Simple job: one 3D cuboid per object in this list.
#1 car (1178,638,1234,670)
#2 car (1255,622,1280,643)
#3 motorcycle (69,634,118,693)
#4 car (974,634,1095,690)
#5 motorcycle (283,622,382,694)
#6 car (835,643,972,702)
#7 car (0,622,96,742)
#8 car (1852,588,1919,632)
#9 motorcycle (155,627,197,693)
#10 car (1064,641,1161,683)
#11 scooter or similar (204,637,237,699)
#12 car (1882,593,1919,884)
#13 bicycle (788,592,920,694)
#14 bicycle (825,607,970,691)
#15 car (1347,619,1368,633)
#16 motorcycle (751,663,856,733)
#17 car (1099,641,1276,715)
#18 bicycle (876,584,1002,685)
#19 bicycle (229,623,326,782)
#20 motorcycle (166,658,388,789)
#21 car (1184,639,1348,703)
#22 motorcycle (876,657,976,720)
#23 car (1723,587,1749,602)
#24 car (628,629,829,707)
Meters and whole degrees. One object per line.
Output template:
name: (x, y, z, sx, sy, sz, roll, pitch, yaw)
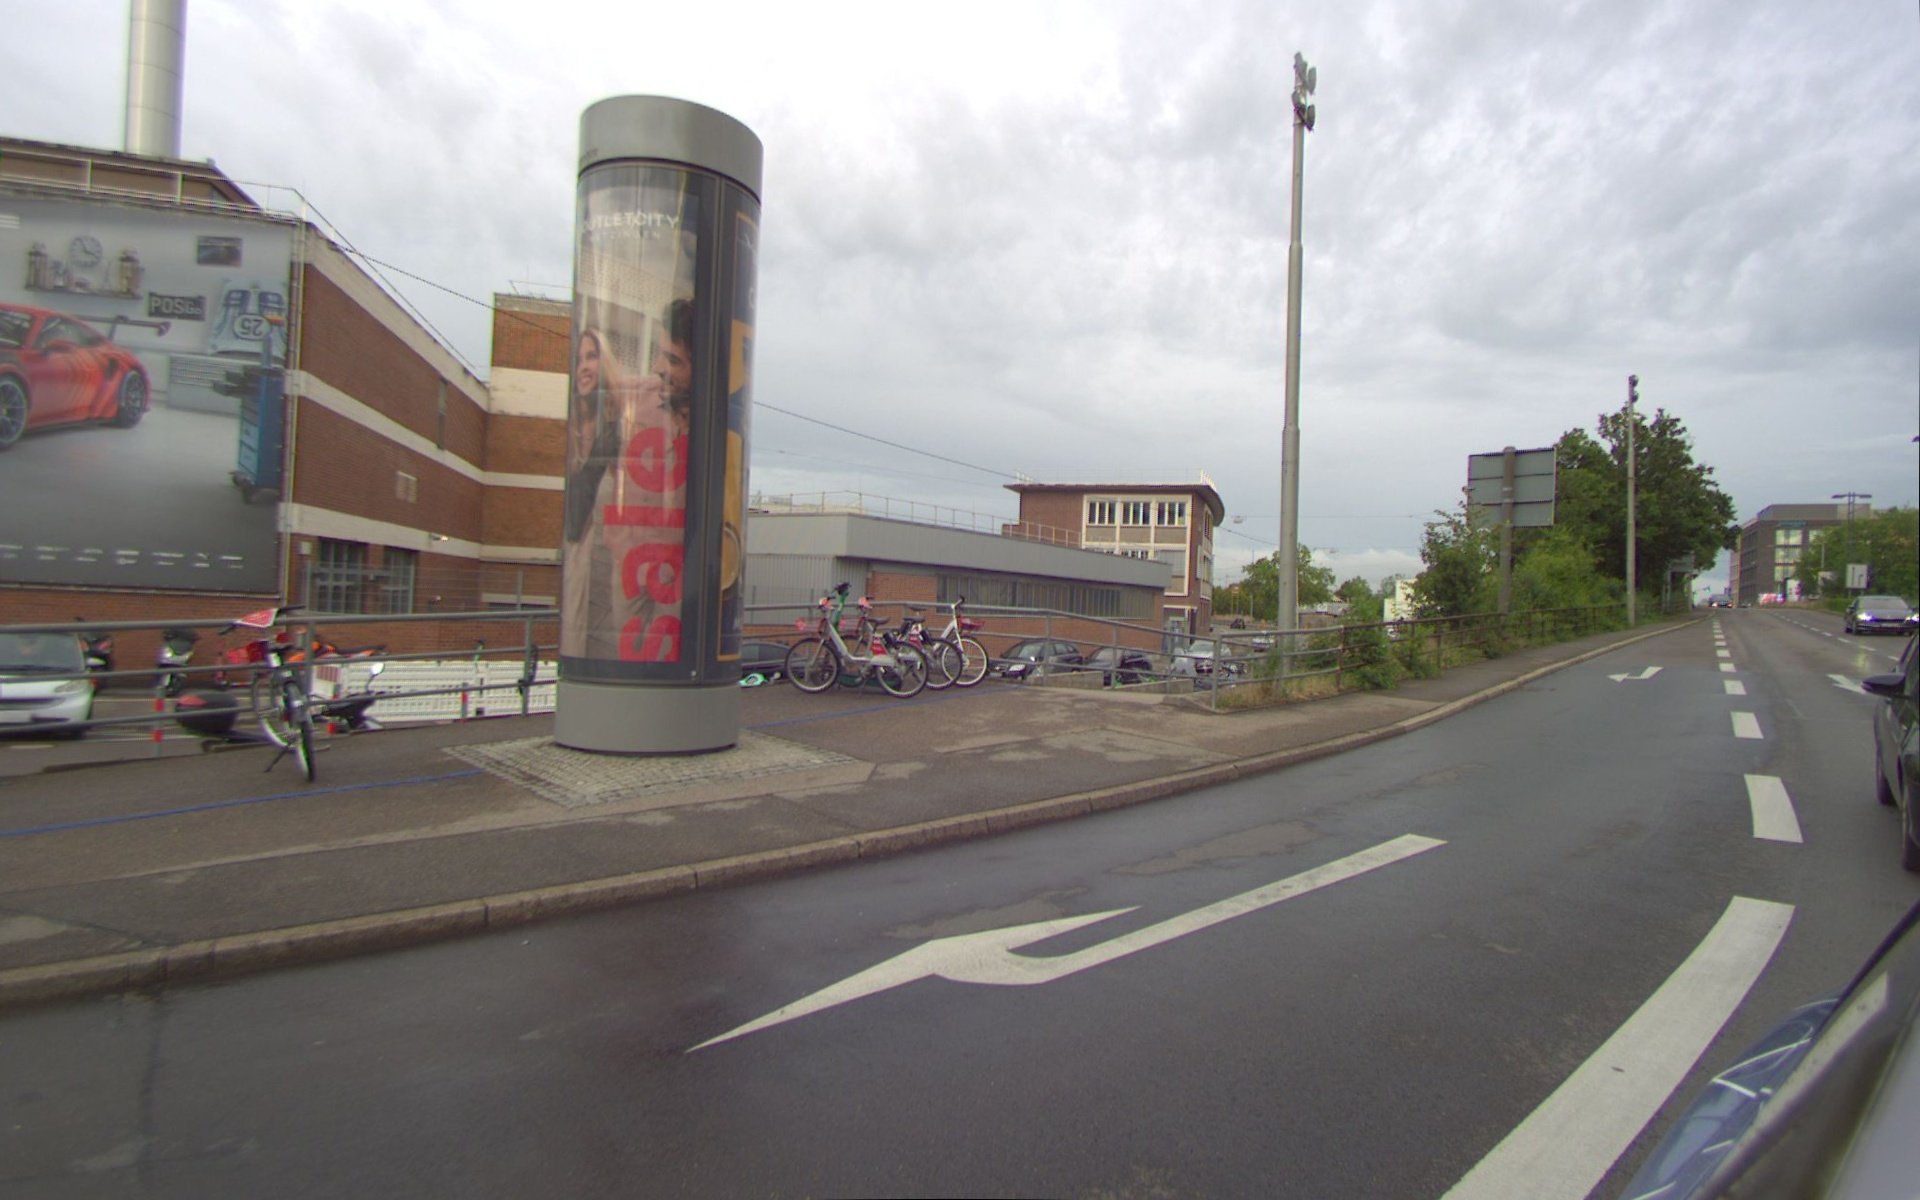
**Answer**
car: (12.348, 2.651, 50.695, 1.718, 1.406, 3.958, 1, -1, 29)
car: (23.267, 2.436, 76.461, 1.698, 1.444, 3.976, 1, 0, 18)
motorcycle: (-16.189, 1.161, 18.932, 0.531, 0.985, 1.616, -1, 0, -35)
car: (2.592, 2.044, 34.336, 1.777, 1.688, 4.438, 1, -1, 41)
motorcycle: (-12.862, 1.164, 20.766, 0.521, 1.350, 1.646, -1, 0, 38)
car: (-1.550, 2.022, 28.989, 1.712, 1.444, 3.943, 1, -1, 39)
car: (-14.083, 1.140, 15.201, 1.541, 1.508, 3.992, 2, -1, -42)
car: (34.660, 0.331, 37.666, 1.807, 1.456, 4.247, 0, 2, 36)
motorcycle: (-15.224, 1.144, 19.676, 0.574, 1.166, 1.720, -1, 0, -35)
car: (5.935, 2.340, 39.008, 1.713, 1.422, 4.211, 1, -1, 41)
scooter or similar: (-14.662, 1.319, 20.087, 0.495, 1.110, 1.639, -1, 0, -35)
car: (6.781, 0.731, 6.071, 1.687, 1.526, 3.953, 0, 1, 40)
bicycle: (-1.217, 0.481, 11.652, 1.438, 1.087, 0.442, 2, 2, 9)
bicycle: (-0.731, 0.575, 12.122, 1.673, 0.933, 0.486, 1, 1, 4)
car: (44.475, 2.920, 113.295, 1.695, 1.444, 3.982, 1, 0, 14)
motorcycle: (-2.342, 1.436, 15.060, 1.600, 0.933, 0.417, 0, 0, 27)
car: (5.316, 1.783, 24.075, 1.688, 1.444, 3.999, 2, -1, -36)
bicycle: (-0.277, 0.414, 12.842, 1.527, 1.169, 0.448, 3, 3, 22)
bicycle: (-4.827, 0.662, 7.122, 0.414, 0.933, 1.615, 1, 0, -39)
motorcycle: (-5.730, 0.999, 8.571, 0.400, 0.901, 1.521, 1, 1, 36)
car: (8.147, 1.839, 27.238, 1.688, 1.444, 3.999, 2, -1, -36)
motorcycle: (-0.558, 1.423, 16.433, 1.599, 0.933, 0.418, 0, 0, 25)
car: (77.553, -0.575, 101.222, 1.737, 1.493, 4.020, 0, 0, 33)
car: (-5.351, 1.507, 23.876, 1.880, 1.570, 4.445, 1, -1, 38)
